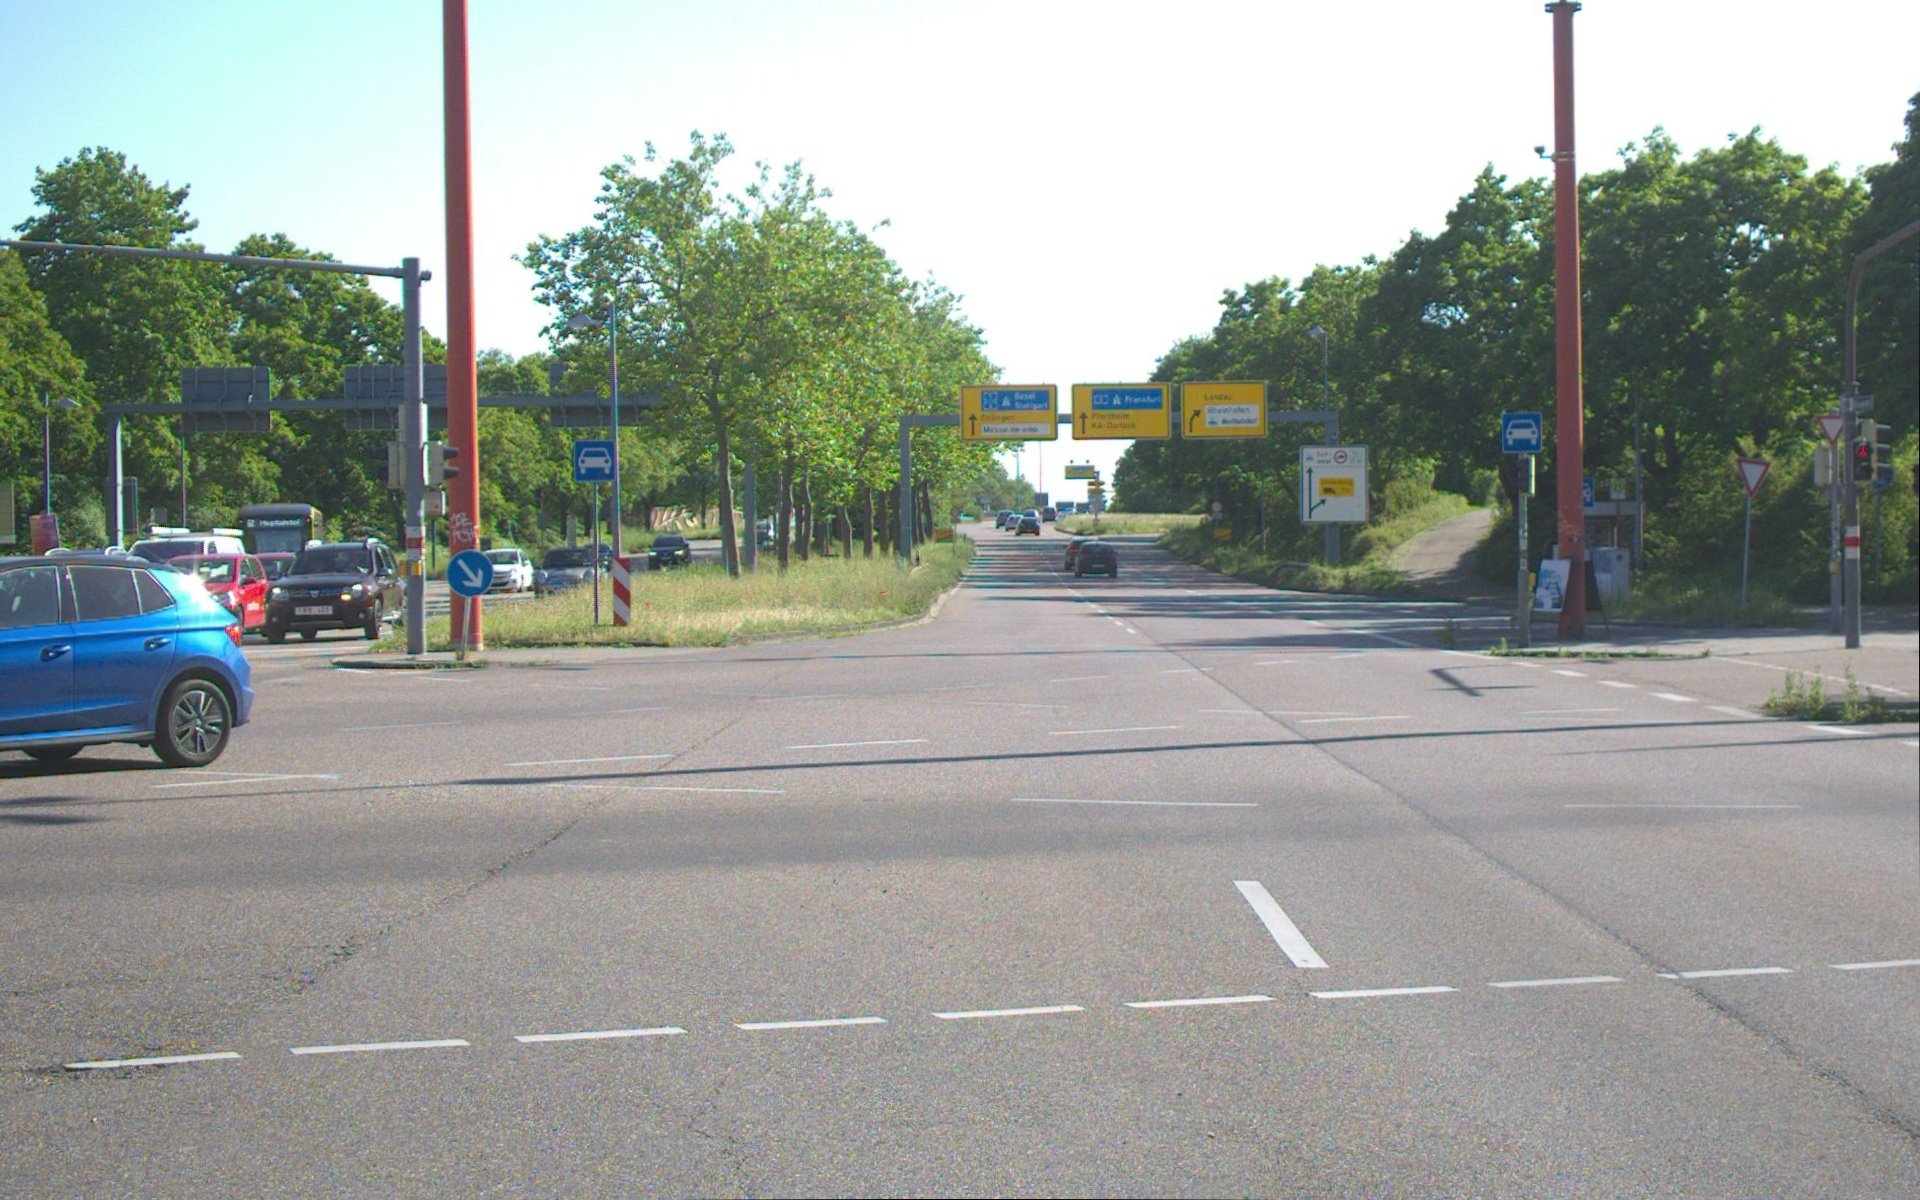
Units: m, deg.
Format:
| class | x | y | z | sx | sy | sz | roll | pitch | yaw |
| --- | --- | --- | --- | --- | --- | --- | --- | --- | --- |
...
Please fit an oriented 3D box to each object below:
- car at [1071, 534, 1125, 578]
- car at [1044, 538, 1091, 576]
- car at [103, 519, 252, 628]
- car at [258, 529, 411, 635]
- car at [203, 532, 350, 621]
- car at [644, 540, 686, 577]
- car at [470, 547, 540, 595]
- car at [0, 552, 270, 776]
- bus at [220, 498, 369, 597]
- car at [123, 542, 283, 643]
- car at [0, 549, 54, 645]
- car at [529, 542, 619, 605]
| class | x | y | z | sx | sy | sz | roll | pitch | yaw |
| --- | --- | --- | --- | --- | --- | --- | --- | --- | --- |
| car | 5.672 | -1.811 | 141.602 | 1.993 | 1.727 | 4.000 | 1 | 1 | -1 |
| car | 4.961 | -1.976 | 159.655 | 1.993 | 1.727 | 4.000 | 1 | 1 | -1 |
| car | -16.063 | -0.566 | 70.831 | 1.961 | 2.147 | 5.082 | -1 | 1 | -1 |
| car | -10.209 | -0.327 | 56.367 | 1.793 | 1.620 | 4.144 | -2 | 1 | -1 |
| car | -12.801 | -0.452 | 64.626 | 1.901 | 1.624 | 4.000 | 0 | 1 | 1 |
| car | -14.959 | -2.134 | 174.447 | 1.837 | 1.831 | 3.961 | -1 | 1 | -1 |
| car | -15.615 | -1.007 | 118.146 | 1.885 | 1.538 | 4.000 | -2 | 1 | -1 |
| car | -6.604 | 0.411 | 22.721 | 1.577 | 1.415 | 3.901 | 0 | 1 | 38 |
| bus | -23.129 | -1.797 | 120.158 | 2.646 | 3.250 | 12.536 | 1 | 1 | 1 |
| car | -12.863 | -0.157 | 58.630 | 1.875 | 1.547 | 4.000 | -4 | 1 | -2 |
| car | -16.528 | -0.049 | 57.283 | 1.901 | 1.549 | 4.000 | -2 | 1 | -2 |
| car | -10.014 | -0.704 | 89.362 | 1.885 | 1.538 | 4.000 | -2 | 1 | -1 |
